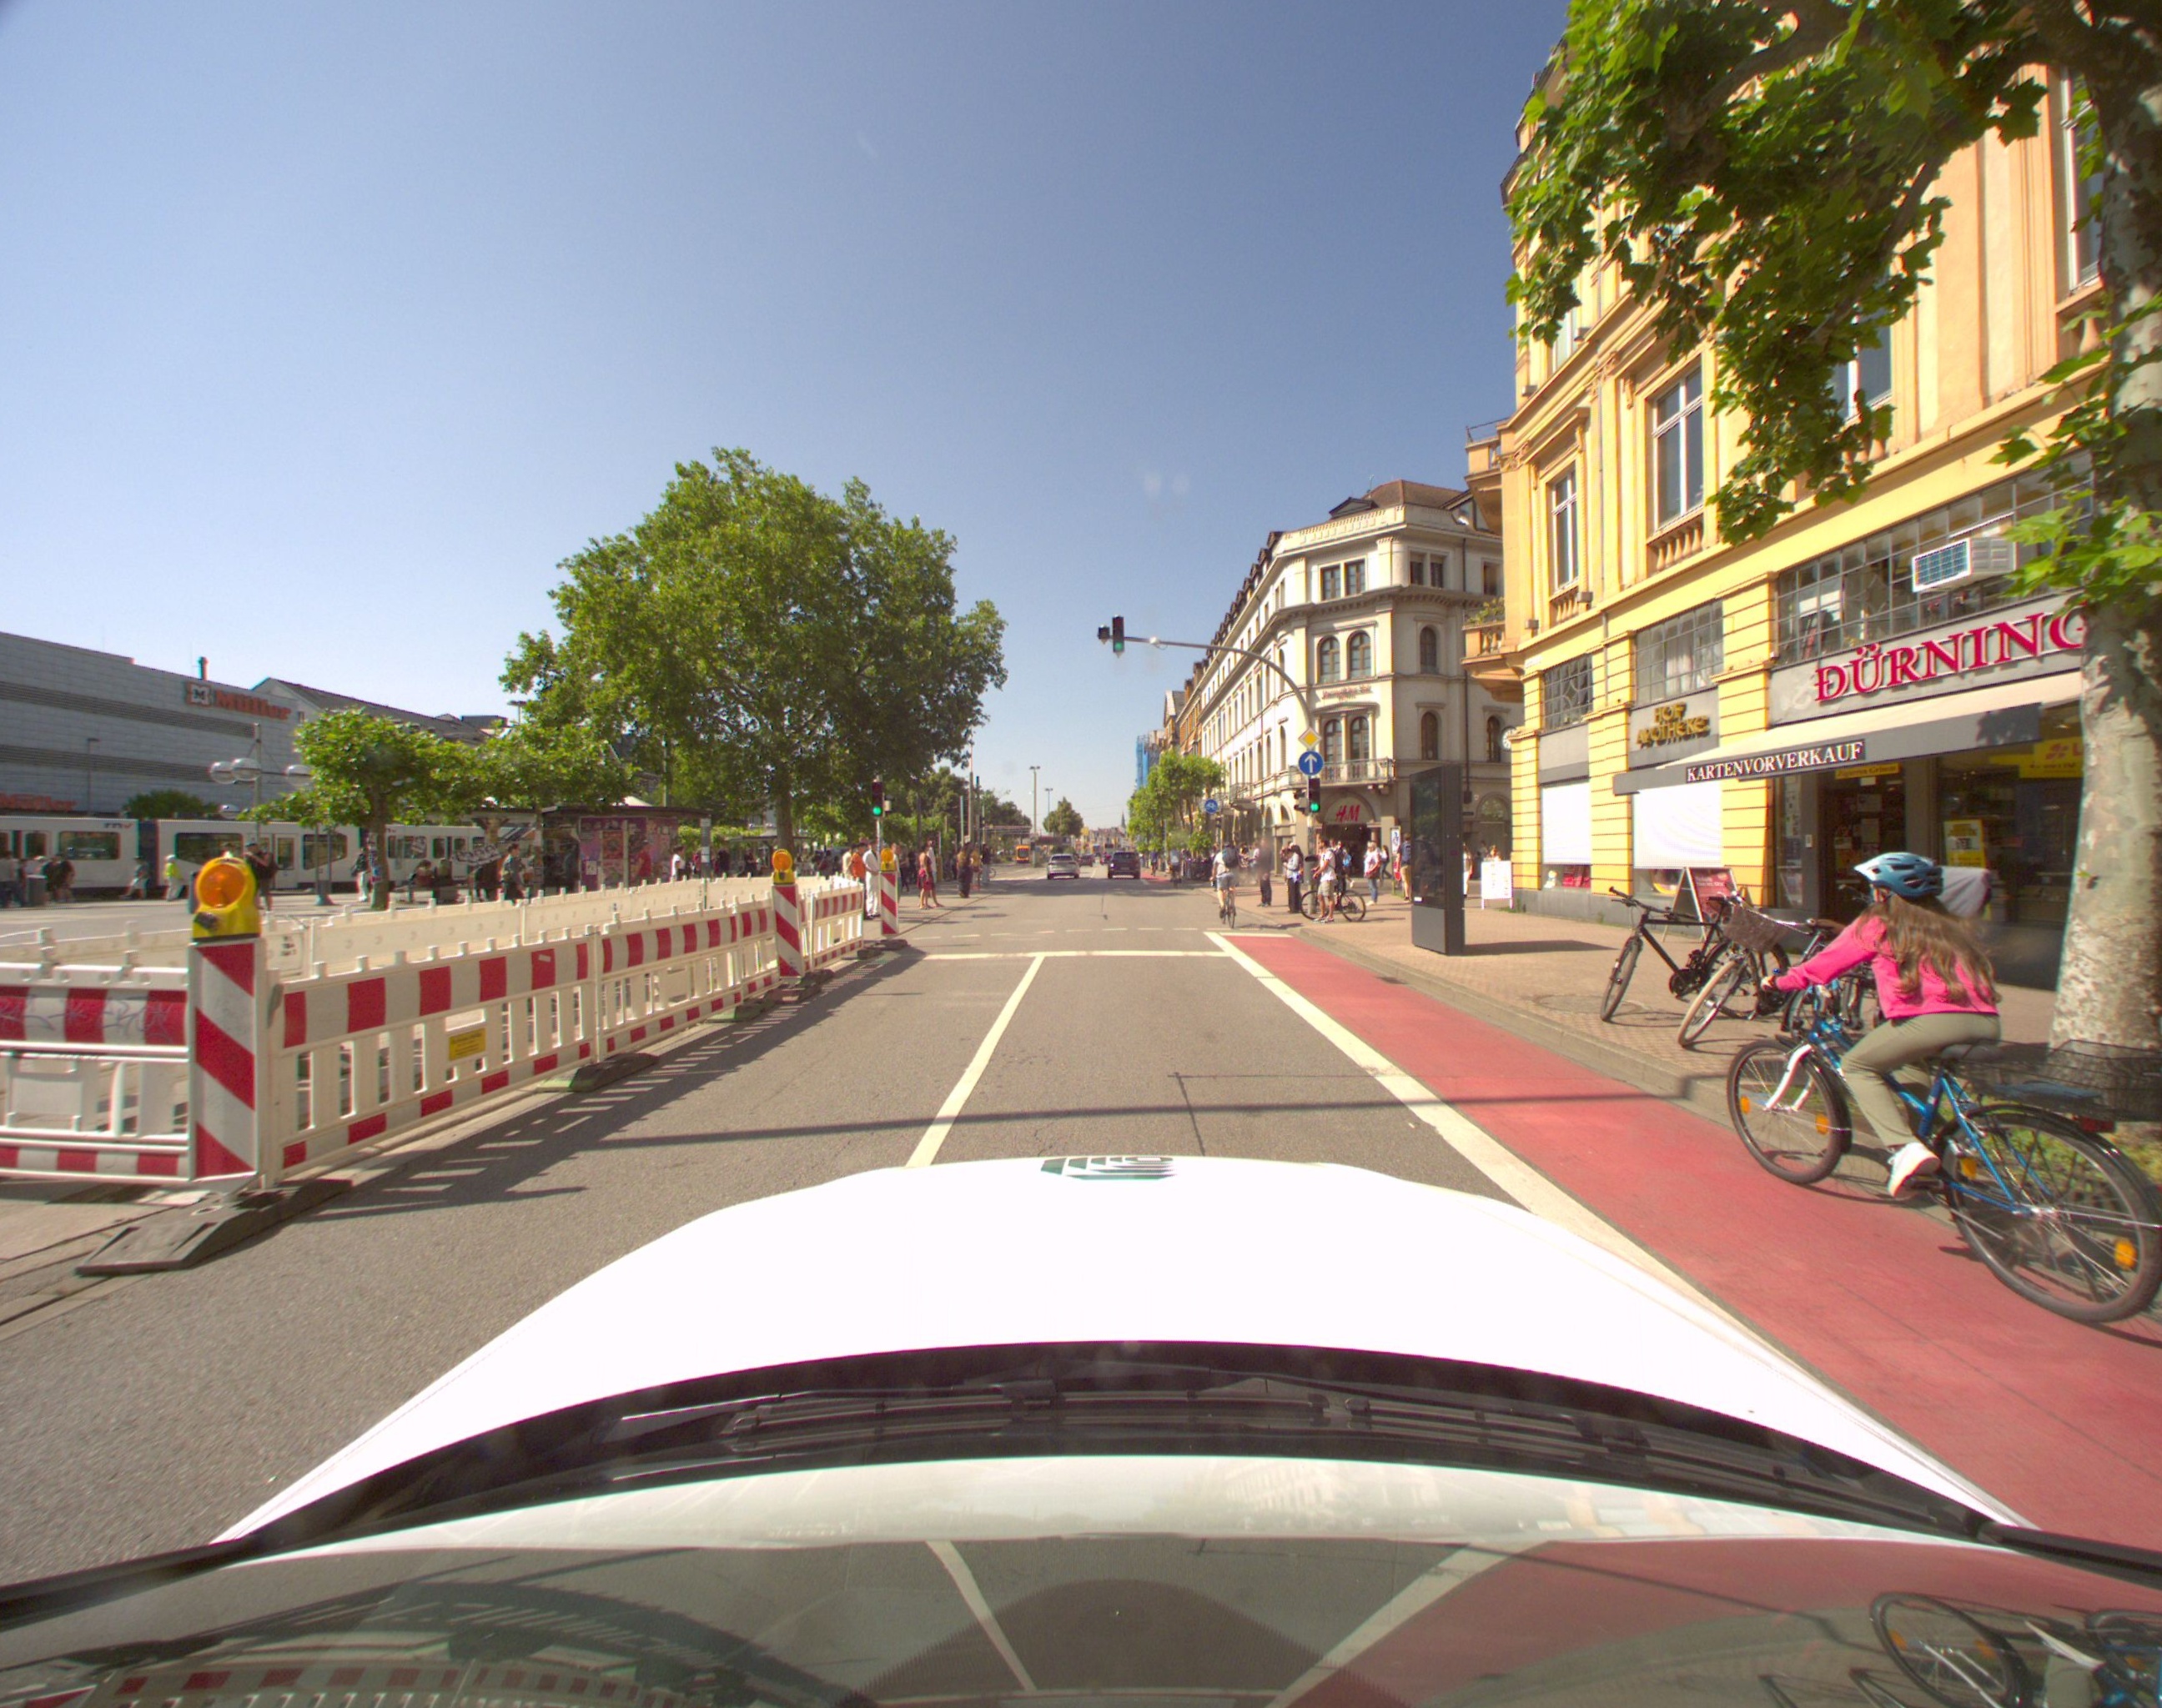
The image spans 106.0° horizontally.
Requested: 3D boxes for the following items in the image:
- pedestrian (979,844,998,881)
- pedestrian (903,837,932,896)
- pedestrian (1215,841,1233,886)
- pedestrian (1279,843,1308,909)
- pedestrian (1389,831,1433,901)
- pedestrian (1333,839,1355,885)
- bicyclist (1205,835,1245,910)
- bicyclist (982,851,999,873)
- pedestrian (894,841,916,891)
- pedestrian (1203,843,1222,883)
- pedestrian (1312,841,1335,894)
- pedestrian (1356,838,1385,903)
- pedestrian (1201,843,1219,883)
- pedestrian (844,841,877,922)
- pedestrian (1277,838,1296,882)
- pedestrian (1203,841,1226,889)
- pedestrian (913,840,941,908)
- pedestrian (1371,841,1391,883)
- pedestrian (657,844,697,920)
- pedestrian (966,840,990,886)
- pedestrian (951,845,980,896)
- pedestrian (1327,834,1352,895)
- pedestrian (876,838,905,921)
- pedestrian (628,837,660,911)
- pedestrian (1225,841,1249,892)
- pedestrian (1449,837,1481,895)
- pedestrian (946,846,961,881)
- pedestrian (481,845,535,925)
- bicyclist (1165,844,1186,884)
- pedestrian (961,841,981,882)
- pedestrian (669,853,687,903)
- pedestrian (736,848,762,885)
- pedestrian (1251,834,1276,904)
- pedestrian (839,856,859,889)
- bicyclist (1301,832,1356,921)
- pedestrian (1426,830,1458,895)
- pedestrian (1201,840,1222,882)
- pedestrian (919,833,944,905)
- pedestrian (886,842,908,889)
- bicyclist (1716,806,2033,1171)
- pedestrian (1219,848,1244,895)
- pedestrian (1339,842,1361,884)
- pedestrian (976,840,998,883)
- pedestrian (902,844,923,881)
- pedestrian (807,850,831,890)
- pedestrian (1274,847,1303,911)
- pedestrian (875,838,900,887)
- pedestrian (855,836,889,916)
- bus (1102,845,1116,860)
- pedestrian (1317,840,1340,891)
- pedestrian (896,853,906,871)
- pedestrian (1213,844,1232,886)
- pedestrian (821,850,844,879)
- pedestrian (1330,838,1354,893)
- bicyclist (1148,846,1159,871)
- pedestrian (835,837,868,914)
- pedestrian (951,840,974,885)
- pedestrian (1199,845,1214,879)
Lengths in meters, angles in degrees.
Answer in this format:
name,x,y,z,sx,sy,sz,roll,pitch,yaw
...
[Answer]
name,x,y,z,sx,sy,sz,roll,pitch,yaw
pedestrian,-4.203,0.405,37.171,0.611,1.668,0.596,-1,-1,31
pedestrian,-5.251,0.386,26.164,0.627,1.859,0.690,-1,-1,22
pedestrian,5.804,0.375,33.040,0.608,1.823,0.677,0,-1,0
pedestrian,5.324,0.541,20.444,0.546,1.631,0.589,-2,-1,4
pedestrian,8.755,0.331,21.659,0.655,1.790,1.233,-1,-2,1
pedestrian,10.279,0.309,31.847,0.608,1.807,0.677,0,-1,0
bicyclist,2.937,0.369,16.705,0.628,1.481,1.198,0,-1,1
bicyclist,-6.126,0.544,55.111,1.051,1.502,0.737,0,0,-17
pedestrian,-6.303,0.417,29.202,0.573,1.779,0.607,1,0,7
pedestrian,5.606,0.378,34.746,0.581,1.673,0.605,-4,0,0
pedestrian,7.549,0.418,25.370,0.521,1.611,0.642,-2,-1,2
pedestrian,7.560,0.424,21.272,0.546,1.640,0.589,-2,-1,4
pedestrian,5.583,0.381,35.387,0.581,1.700,0.605,-4,0,0
pedestrian,-4.821,0.584,17.763,0.543,1.718,0.600,1,-1,-30
pedestrian,8.508,0.243,33.793,0.608,1.823,0.677,0,-1,0
pedestrian,5.013,0.421,30.513,0.608,1.739,0.677,-5,0,0
pedestrian,-4.031,0.518,21.349,0.573,1.758,0.639,0,-1,3
pedestrian,11.787,0.317,31.969,0.538,1.633,0.677,0,-1,0
pedestrian,-9.492,0.644,19.153,0.573,1.738,0.607,1,0,7
pedestrian,-4.075,0.372,32.252,0.627,1.794,0.735,-1,-1,22
pedestrian,-3.653,0.518,25.816,0.627,1.595,0.690,-1,-1,22
pedestrian,7.919,0.317,25.005,0.521,1.823,0.642,-2,-1,2
pedestrian,-4.107,0.537,17.539,0.431,1.740,0.600,1,-1,-30
pedestrian,-11.276,0.511,21.020,0.666,1.879,0.625,1,-1,-33
pedestrian,5.592,0.451,29.192,0.608,1.759,0.677,-5,0,0
pedestrian,10.650,0.323,22.605,0.554,1.569,0.581,-1,-1,-43
pedestrian,-6.364,0.453,40.729,0.608,1.725,0.677,0,-1,0
pedestrian,-11.263,0.600,16.012,0.573,1.532,0.607,1,0,7
bicyclist,3.944,0.412,33.930,0.771,1.635,0.851,-1,0,2
pedestrian,-5.035,0.345,37.168,0.611,1.823,0.668,-1,-1,31
pedestrian,-15.089,0.903,30.513,0.549,1.859,0.500,0,-1,-32
pedestrian,-13.493,0.495,33.079,0.627,1.478,0.735,-1,-1,22
pedestrian,5.000,0.408,22.328,0.520,1.898,0.642,-2,-1,4
pedestrian,-10.104,0.801,35.480,0.729,1.386,0.664,0,-1,-6
bicyclist,5.152,0.458,16.947,0.577,1.797,0.848,-3,0,-33
pedestrian,10.060,0.236,22.715,0.554,1.801,0.581,-1,-1,-43
pedestrian,6.062,0.333,37.822,0.681,1.898,0.615,-4,-1,28
pedestrian,-4.025,0.407,21.988,0.529,1.919,0.560,0,-1,3
pedestrian,-6.812,0.431,30.162,0.572,1.711,0.608,1,-1,15
bicyclist,3.254,0.509,3.416,0.598,1.358,0.721,0,-2,1
pedestrian,5.101,0.592,27.656,0.608,1.515,0.677,-5,0,0
pedestrian,10.455,0.350,31.681,0.608,1.618,0.678,0,2,0
pedestrian,-4.106,0.328,35.764,0.626,1.834,0.735,-1,-1,31
pedestrian,-8.089,0.391,39.118,0.671,1.764,0.771,-1,-1,31
pedestrian,-10.461,0.640,32.518,0.627,1.565,0.669,-1,-1,22
pedestrian,5.044,0.602,19.816,0.520,1.521,0.642,-2,-1,4
pedestrian,-7.334,0.324,30.881,0.627,1.810,0.735,-1,-1,22
pedestrian,-4.737,0.489,18.498,0.536,1.779,0.607,1,0,7
bus,6.614,-0.370,194.863,2.984,3.594,11.746,0,0,1
pedestrian,7.954,0.372,26.191,0.521,1.609,0.642,-2,-1,2
pedestrian,-17.582,0.807,79.431,0.704,1.707,0.658,-1,-1,17
pedestrian,5.851,0.457,33.659,0.581,1.673,0.605,-4,0,0
pedestrian,-10.118,0.431,33.155,0.627,1.144,0.669,-1,-1,22
pedestrian,8.202,0.364,25.596,0.520,1.702,0.536,-2,-1,2
bicyclist,4.573,0.304,51.383,0.645,1.551,0.818,0,0,1
pedestrian,-5.706,0.523,20.266,0.573,1.890,0.654,1,0,3
pedestrian,-4.979,0.340,34.176,0.626,1.859,0.735,-1,-1,31
pedestrian,6.032,0.365,39.146,0.525,1.594,0.615,-1,3,28
